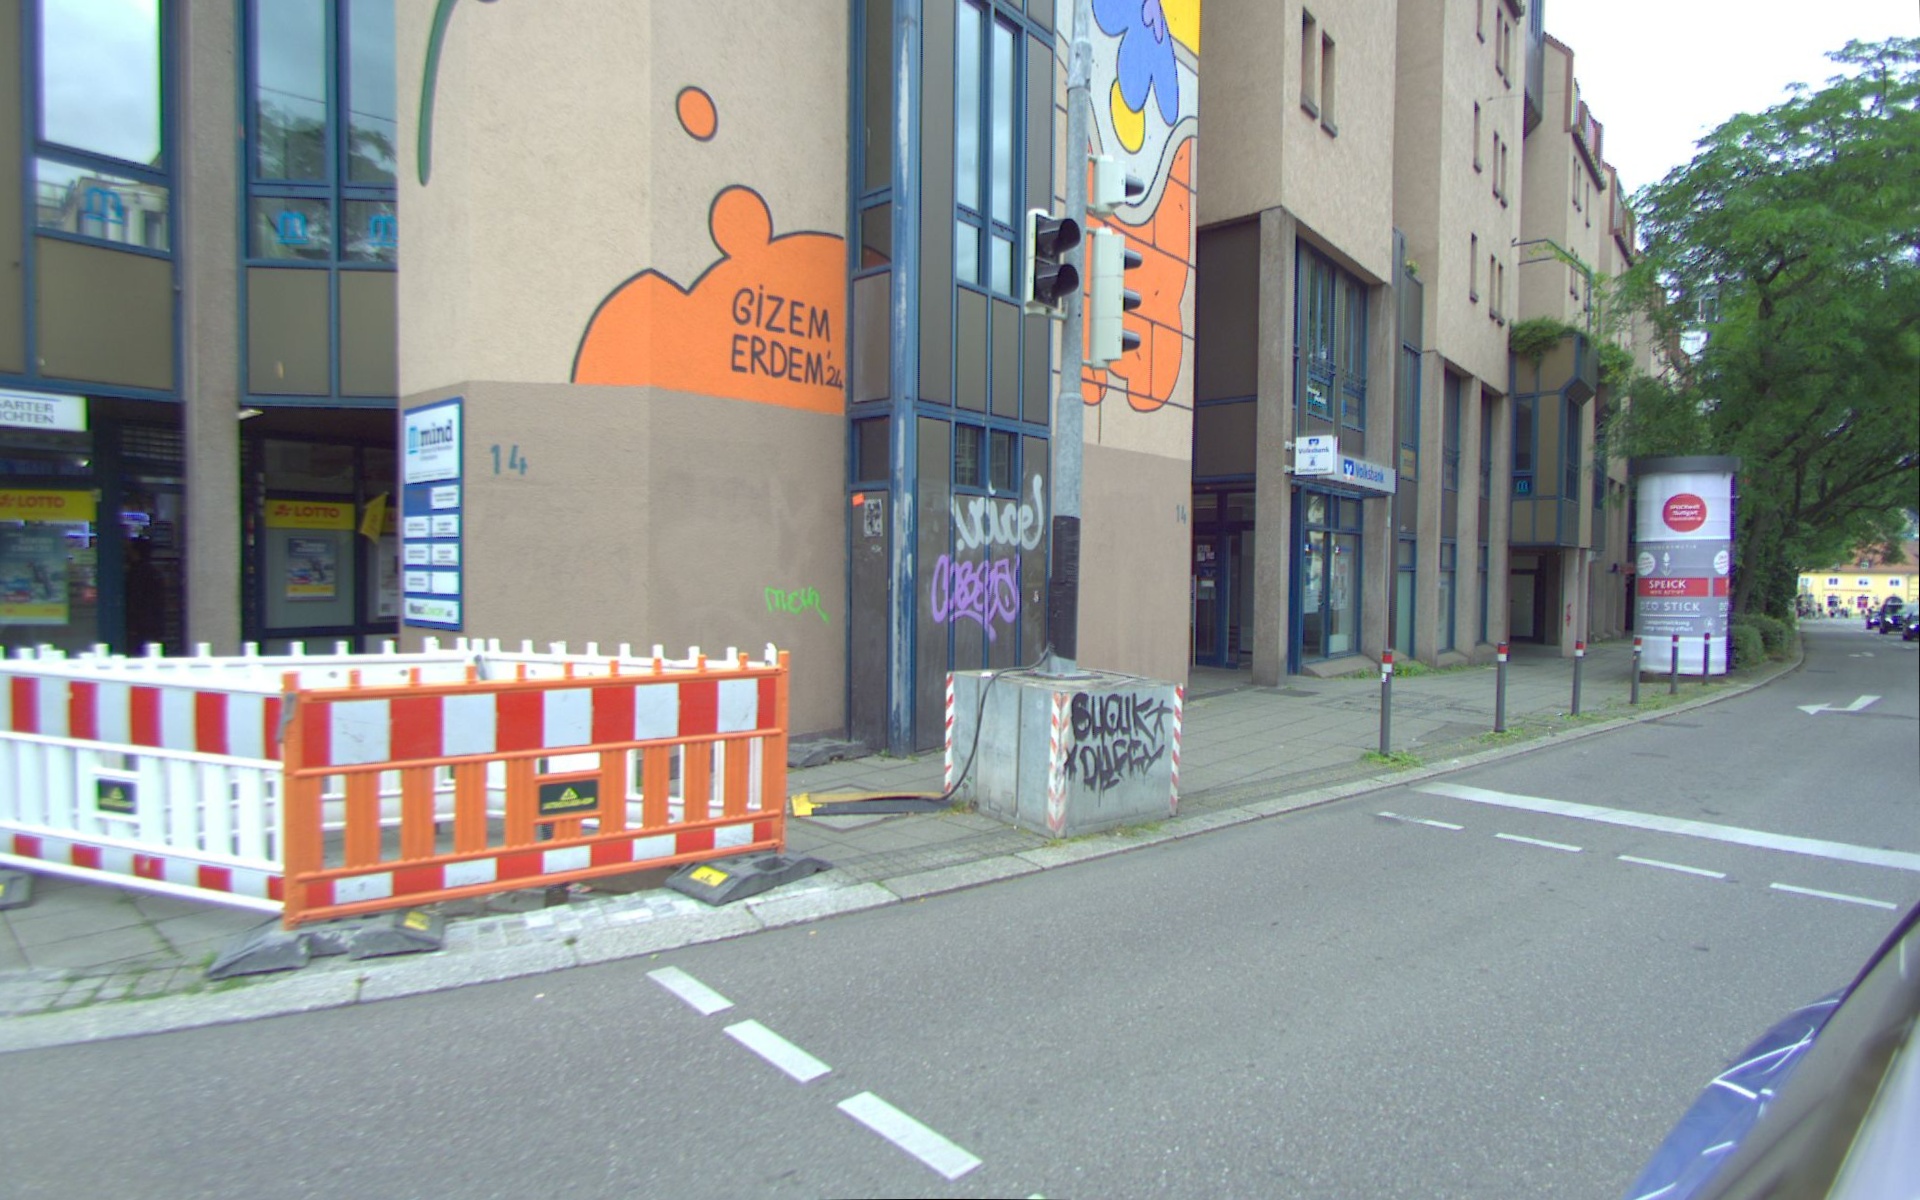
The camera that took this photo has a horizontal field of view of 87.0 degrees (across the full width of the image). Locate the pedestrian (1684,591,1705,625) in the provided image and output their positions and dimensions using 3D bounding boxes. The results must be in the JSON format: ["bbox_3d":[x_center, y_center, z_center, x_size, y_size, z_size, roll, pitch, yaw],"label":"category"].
[{"bbox_3d":[38.027,0.403,52.389,0.676,1.733,0.710,2,-1,-42],"label":"pedestrian"}]

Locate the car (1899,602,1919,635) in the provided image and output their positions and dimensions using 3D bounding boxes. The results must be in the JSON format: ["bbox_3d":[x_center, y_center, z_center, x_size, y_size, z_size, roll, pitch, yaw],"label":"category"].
[{"bbox_3d":[47.717,0.903,49.880,3.935,1.549,1.945,0,0,-45],"label":"car"}]

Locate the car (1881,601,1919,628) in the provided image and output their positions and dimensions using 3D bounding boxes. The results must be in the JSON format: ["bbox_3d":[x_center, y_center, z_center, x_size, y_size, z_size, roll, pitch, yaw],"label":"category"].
[{"bbox_3d":[56.616,0.863,60.640,3.935,1.549,1.945,0,0,-45],"label":"car"}]
